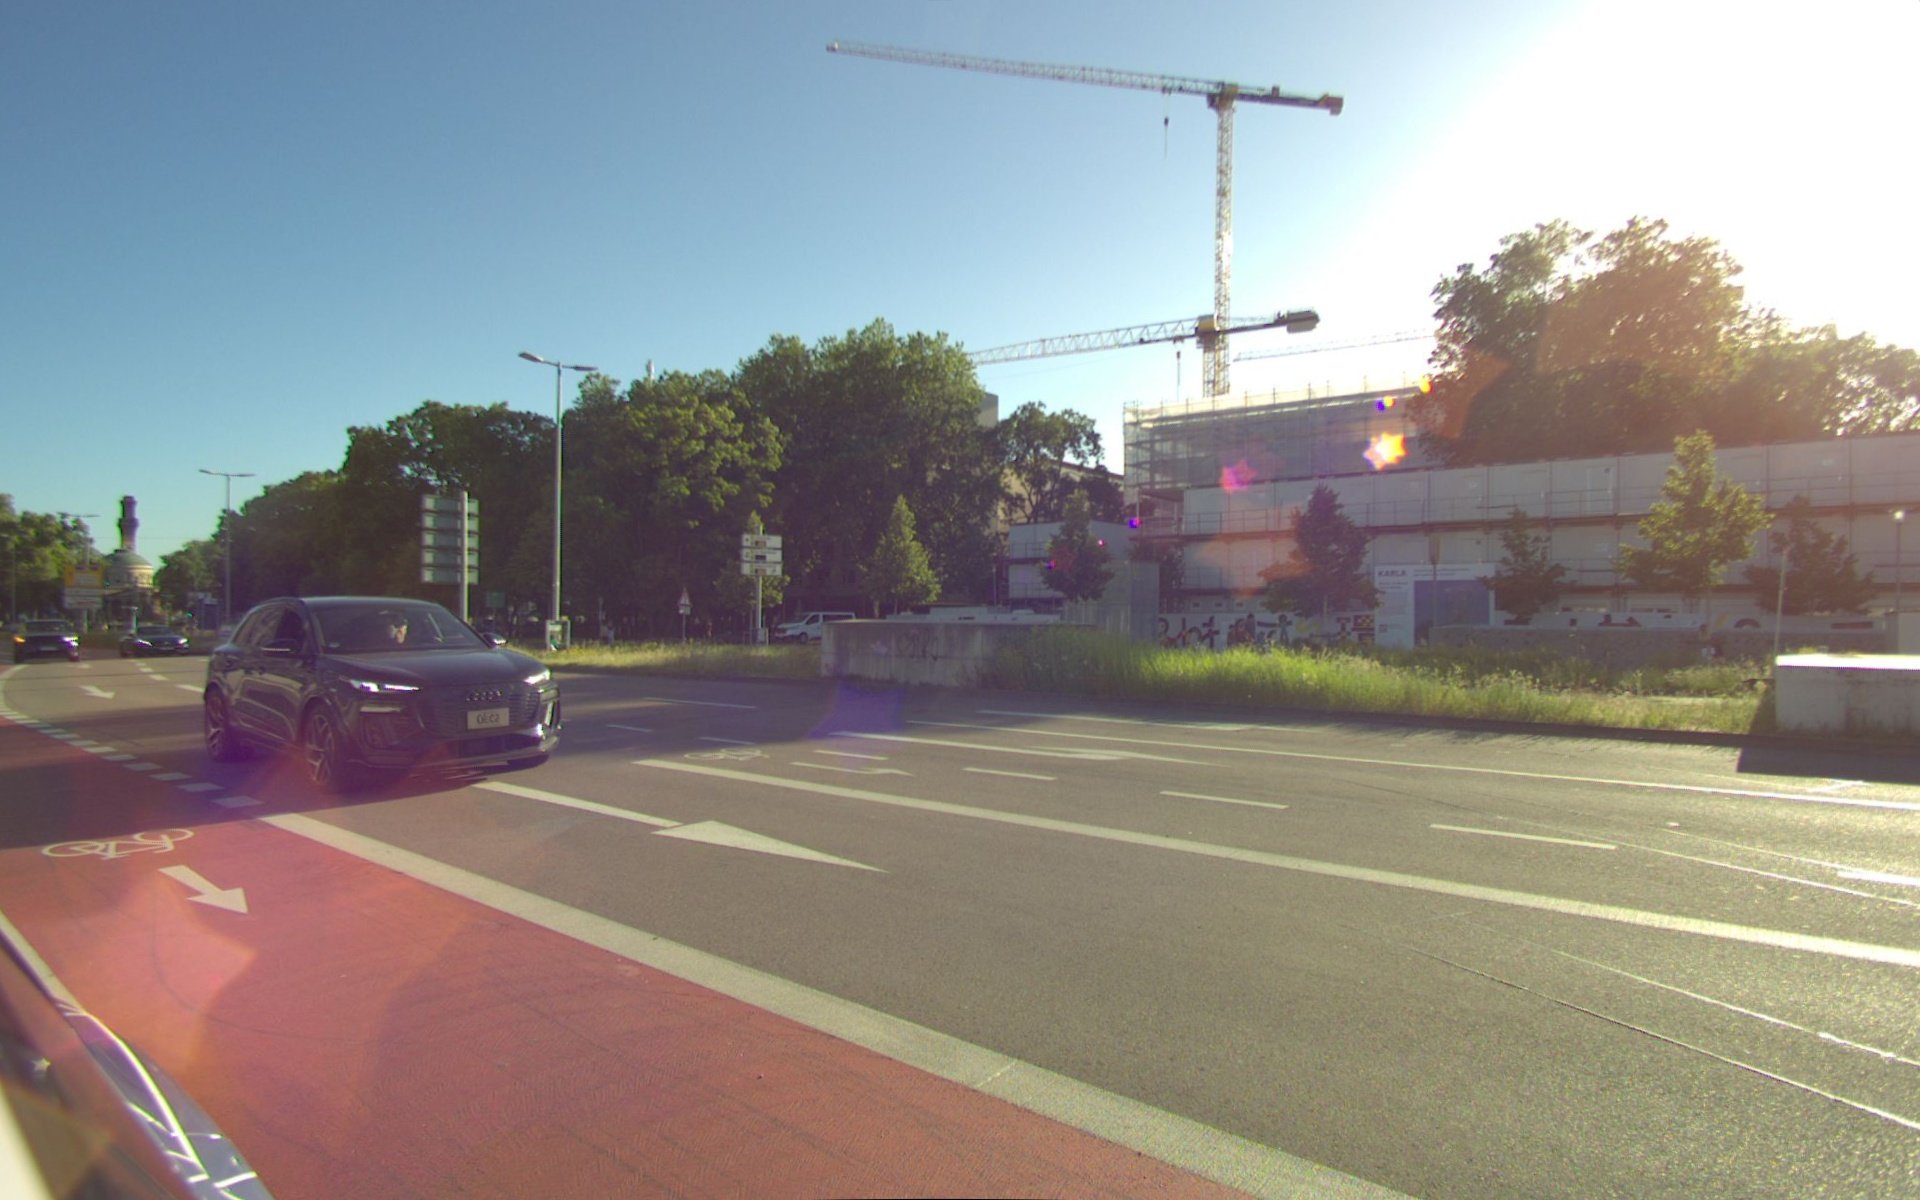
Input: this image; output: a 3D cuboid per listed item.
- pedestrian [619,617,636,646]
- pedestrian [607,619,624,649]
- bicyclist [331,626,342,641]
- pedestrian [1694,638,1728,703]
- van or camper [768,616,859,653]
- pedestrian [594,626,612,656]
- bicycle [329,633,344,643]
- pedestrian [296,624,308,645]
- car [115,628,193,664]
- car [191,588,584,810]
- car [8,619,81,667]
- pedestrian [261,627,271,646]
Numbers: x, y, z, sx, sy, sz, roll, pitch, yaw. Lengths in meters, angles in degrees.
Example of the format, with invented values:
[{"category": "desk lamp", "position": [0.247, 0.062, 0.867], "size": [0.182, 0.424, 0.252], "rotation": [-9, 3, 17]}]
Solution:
[{"category": "pedestrian", "position": [-20.014, 1.904, 60.918], "size": [0.761, 1.738, 0.698], "rotation": [-1, -2, 39]}, {"category": "pedestrian", "position": [-20.563, 2.027, 60.351], "size": [0.762, 1.738, 0.656], "rotation": [-1, -2, 41]}, {"category": "bicyclist", "position": [-53.974, 2.918, 87.640], "size": [0.714, 1.291, 0.603], "rotation": [-1, -2, 40]}, {"category": "pedestrian", "position": [19.830, 1.855, 26.713], "size": [0.626, 1.665, 0.930], "rotation": [-1, -2, 41]}, {"category": "van or camper", "position": [-8.927, 2.083, 61.953], "size": [1.948, 2.029, 5.576], "rotation": [-1, 0, 42]}, {"category": "pedestrian", "position": [-21.074, 2.401, 59.737], "size": [0.762, 1.738, 0.698], "rotation": [-1, -2, 41]}, {"category": "bicycle", "position": [-53.980, 3.283, 87.632], "size": [1.744, 0.849, 0.602], "rotation": [-1, -2, 40]}, {"category": "pedestrian", "position": [-59.999, 3.161, 92.303], "size": [0.924, 1.862, 0.620], "rotation": [-1, -2, 40]}, {"category": "car", "position": [-35.059, 1.965, 43.991], "size": [4.487, 1.417, 1.972], "rotation": [-1, 0, 42]}, {"category": "car", "position": [-5.692, 0.786, 9.795], "size": [4.614, 1.656, 1.912], "rotation": [-1, -1, 41]}, {"category": "car", "position": [-35.118, 1.606, 38.814], "size": [1.970, 1.732, 4.330], "rotation": [1, -2, -43]}, {"category": "pedestrian", "position": [-69.106, 3.603, 100.759], "size": [0.733, 1.862, 0.561], "rotation": [-1, -2, 40]}]
